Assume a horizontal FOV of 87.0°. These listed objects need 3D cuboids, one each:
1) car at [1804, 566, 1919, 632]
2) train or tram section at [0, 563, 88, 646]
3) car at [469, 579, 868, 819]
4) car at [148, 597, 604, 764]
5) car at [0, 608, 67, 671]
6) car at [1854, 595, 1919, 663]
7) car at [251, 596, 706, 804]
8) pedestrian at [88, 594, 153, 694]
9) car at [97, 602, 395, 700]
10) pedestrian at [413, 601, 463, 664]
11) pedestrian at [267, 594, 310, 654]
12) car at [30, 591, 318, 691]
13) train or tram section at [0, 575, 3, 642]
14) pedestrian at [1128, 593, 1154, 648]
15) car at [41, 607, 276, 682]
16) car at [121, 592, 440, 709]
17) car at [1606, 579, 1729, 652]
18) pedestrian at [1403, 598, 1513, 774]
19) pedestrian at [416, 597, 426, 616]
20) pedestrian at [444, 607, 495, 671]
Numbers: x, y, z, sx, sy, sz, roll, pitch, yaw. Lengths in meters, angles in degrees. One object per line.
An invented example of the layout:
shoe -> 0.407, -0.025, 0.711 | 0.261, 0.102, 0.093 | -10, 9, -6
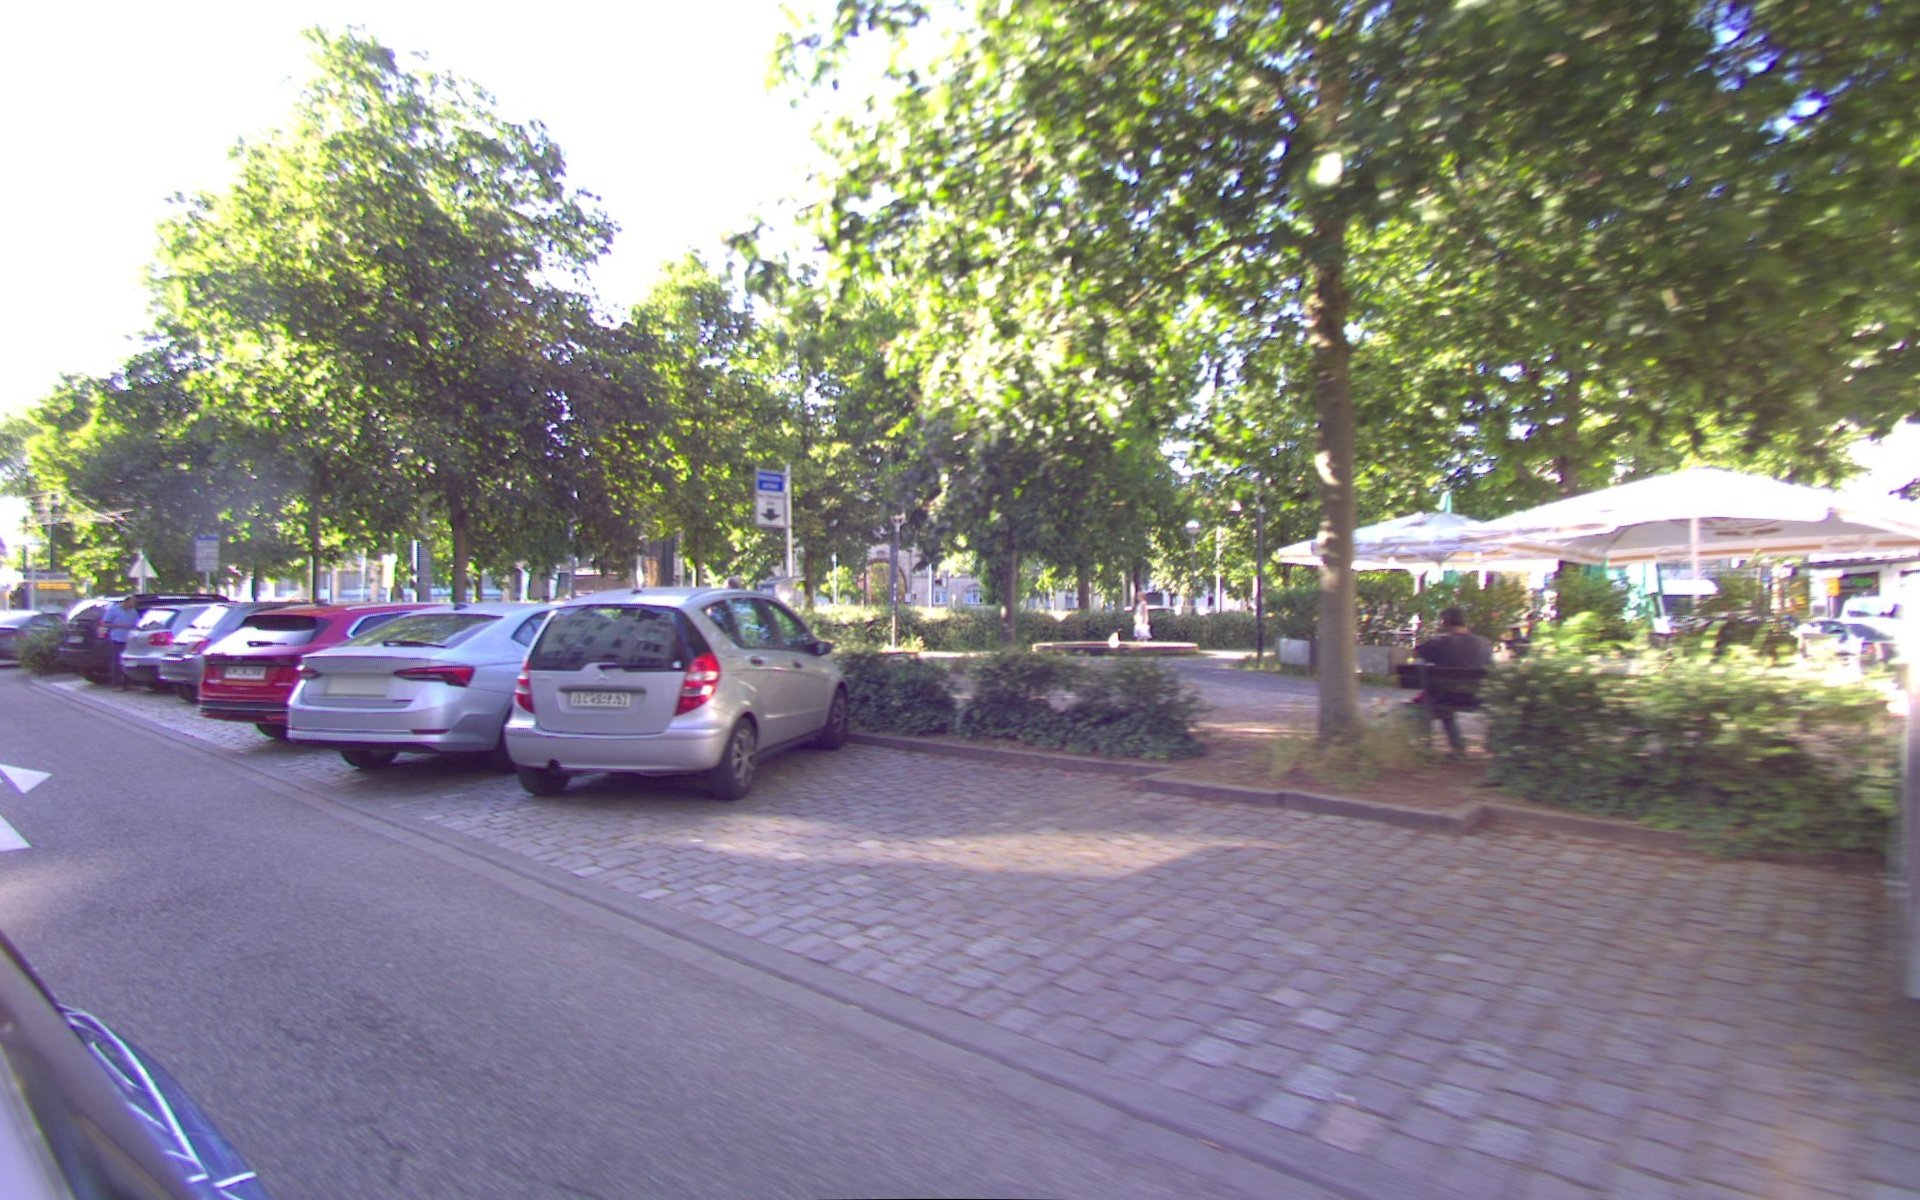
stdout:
car -> 30.956, -0.076, 34.543 | 1.539, 2.028, 4.805 | 4, 2, 19
train or tram section -> -47.690, 0.324, 50.485 | 13.146, 3.713, 2.925 | -1, -1, 34
car -> -2.198, 0.627, 8.872 | 1.811, 1.598, 3.988 | -1, 1, 10
car -> -6.486, 0.746, 12.037 | 1.749, 1.499, 4.825 | 0, 1, 17
car -> -24.514, 0.963, 25.984 | 1.886, 1.427, 4.822 | -1, 1, -36
car -> 27.850, 0.803, 28.814 | 1.894, 1.817, 4.841 | 0, 1, 19
car -> -4.258, 0.746, 9.823 | 1.719, 1.488, 4.217 | 0, 1, 14
pedestrian -> -14.297, 0.725, 17.236 | 0.645, 1.662, 0.693 | 0, 1, 35
car -> -12.509, 0.805, 17.994 | 1.797, 1.459, 3.957 | 0, 1, 31
pedestrian -> -10.909, 0.659, 21.163 | 0.698, 1.283, 0.640 | 0, 1, 27
pedestrian -> -19.468, 0.683, 29.357 | 0.794, 1.712, 0.670 | 0, 0, 0
car -> -15.167, 0.715, 19.778 | 1.989, 1.680, 3.966 | -1, 0, 25
train or tram section -> -58.582, 0.578, 57.663 | 13.595, 3.640, 2.925 | -1, -1, 34
pedestrian -> 4.943, 0.556, 27.656 | 0.666, 1.476, 0.556 | 0, 1, 13
car -> -17.626, 0.925, 22.528 | 1.852, 1.481, 3.992 | -1, 0, 7
car -> -10.794, 0.701, 16.404 | 1.740, 1.610, 3.966 | 0, 1, 25
car -> 24.133, 0.447, 34.779 | 1.984, 2.331, 5.322 | 0, 1, 18
pedestrian -> 3.848, 0.626, 7.871 | 0.655, 1.276, 0.786 | 0, 1, 18
pedestrian -> -47.850, 0.574, 89.859 | 0.546, 1.628, 0.676 | -1, 1, -11
pedestrian -> -10.031, 0.783, 20.685 | 0.698, 1.269, 0.640 | 0, 1, 27
